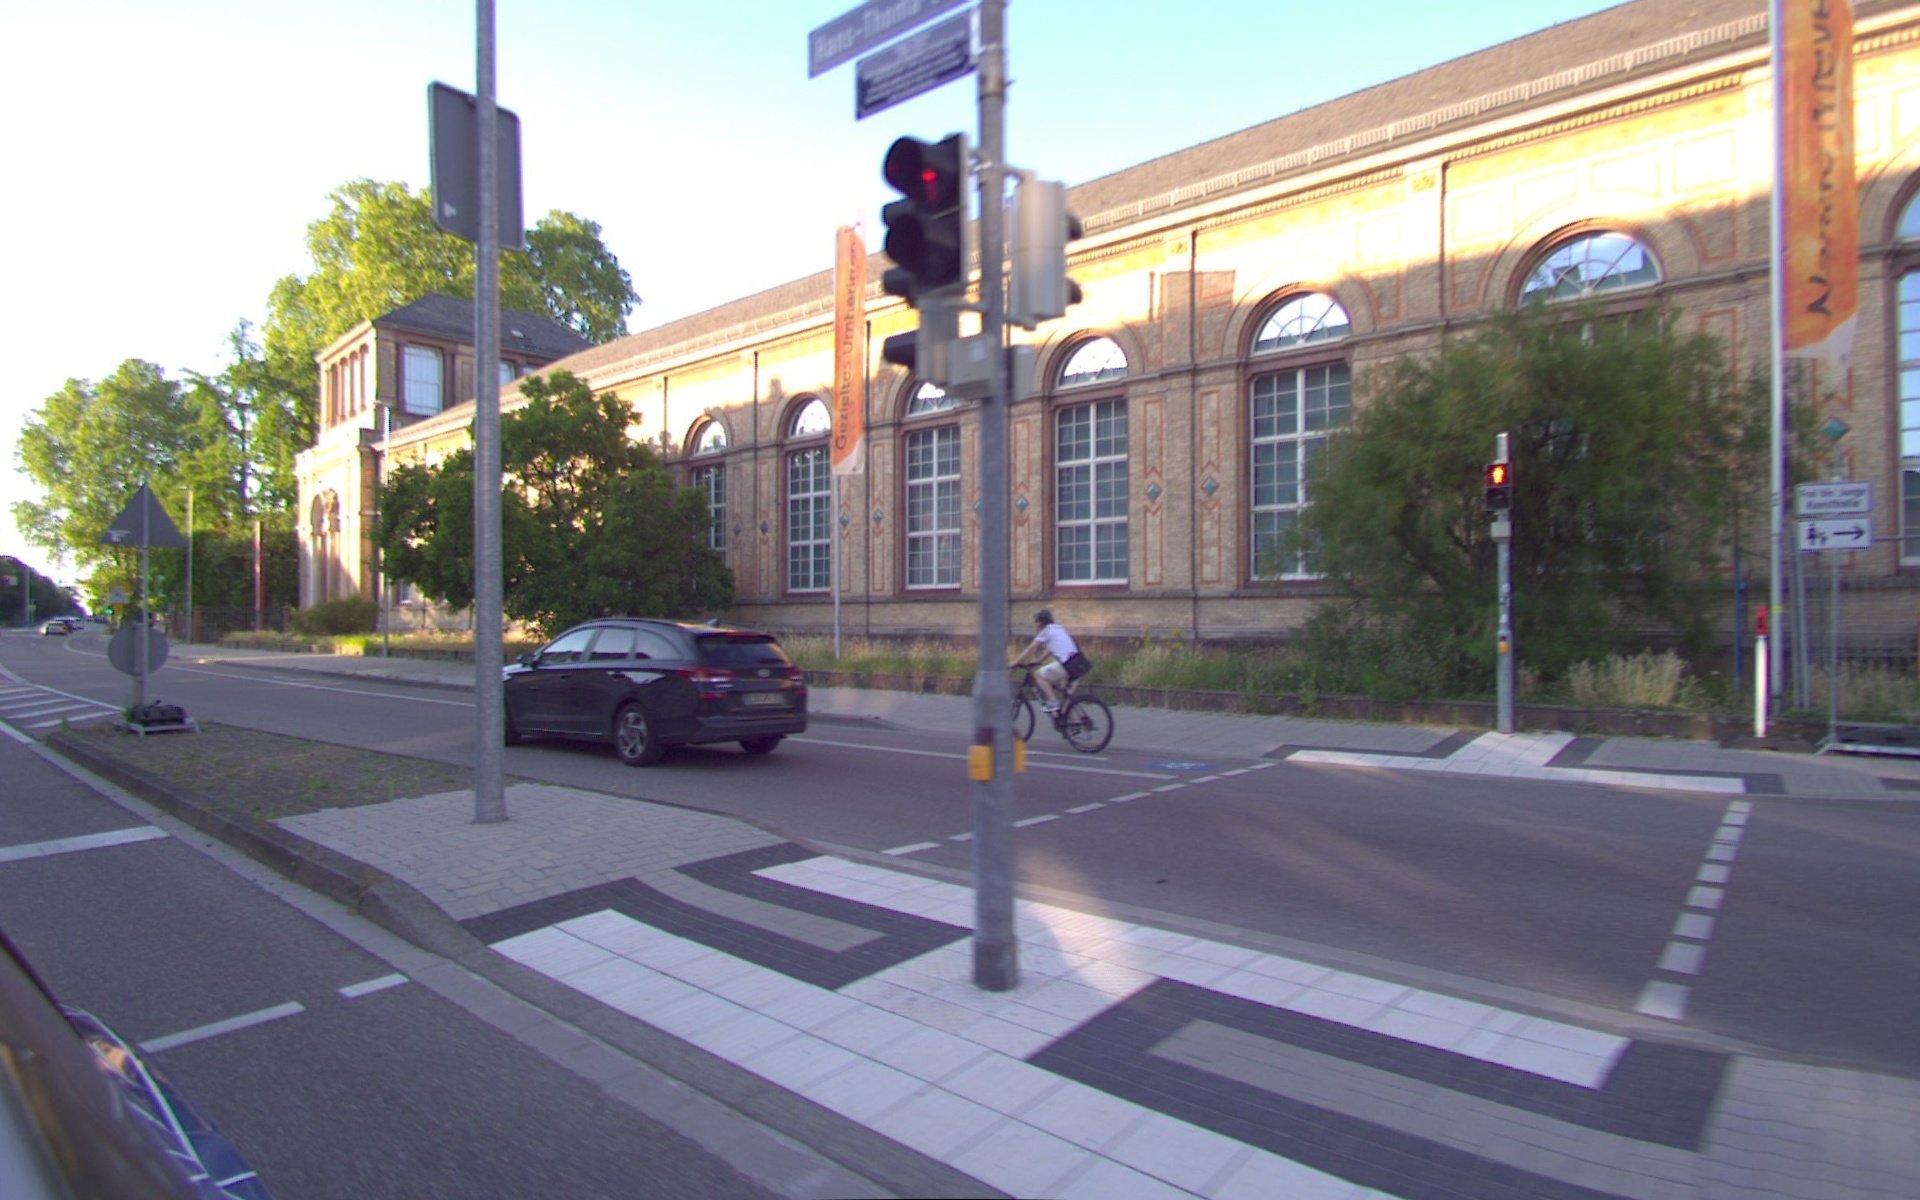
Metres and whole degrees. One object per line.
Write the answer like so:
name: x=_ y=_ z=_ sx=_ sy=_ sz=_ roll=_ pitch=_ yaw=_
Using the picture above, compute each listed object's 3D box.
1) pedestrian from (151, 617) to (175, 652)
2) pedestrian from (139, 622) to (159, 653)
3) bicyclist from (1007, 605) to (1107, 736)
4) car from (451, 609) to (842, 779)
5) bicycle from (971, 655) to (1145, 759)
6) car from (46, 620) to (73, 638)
pedestrian: x=-40.913 y=1.765 z=51.947 sx=0.795 sy=1.751 sz=0.852 roll=0 pitch=-1 yaw=-24
pedestrian: x=-41.432 y=1.905 z=51.674 sx=0.666 sy=1.524 sz=0.836 roll=-3 pitch=-1 yaw=-45
bicyclist: x=1.149 y=0.808 z=11.951 sx=0.935 sy=1.471 sz=0.740 roll=-1 pitch=-3 yaw=35
car: x=-3.551 y=0.893 z=11.133 sx=4.418 sy=1.519 sz=1.807 roll=-1 pitch=-3 yaw=36
bicycle: x=1.139 y=1.219 z=11.932 sx=1.928 sy=1.099 sz=0.747 roll=-1 pitch=-3 yaw=35
car: x=-89.226 y=2.893 z=100.305 sx=1.892 sy=1.697 sz=4.005 roll=0 pitch=-1 yaw=-41
